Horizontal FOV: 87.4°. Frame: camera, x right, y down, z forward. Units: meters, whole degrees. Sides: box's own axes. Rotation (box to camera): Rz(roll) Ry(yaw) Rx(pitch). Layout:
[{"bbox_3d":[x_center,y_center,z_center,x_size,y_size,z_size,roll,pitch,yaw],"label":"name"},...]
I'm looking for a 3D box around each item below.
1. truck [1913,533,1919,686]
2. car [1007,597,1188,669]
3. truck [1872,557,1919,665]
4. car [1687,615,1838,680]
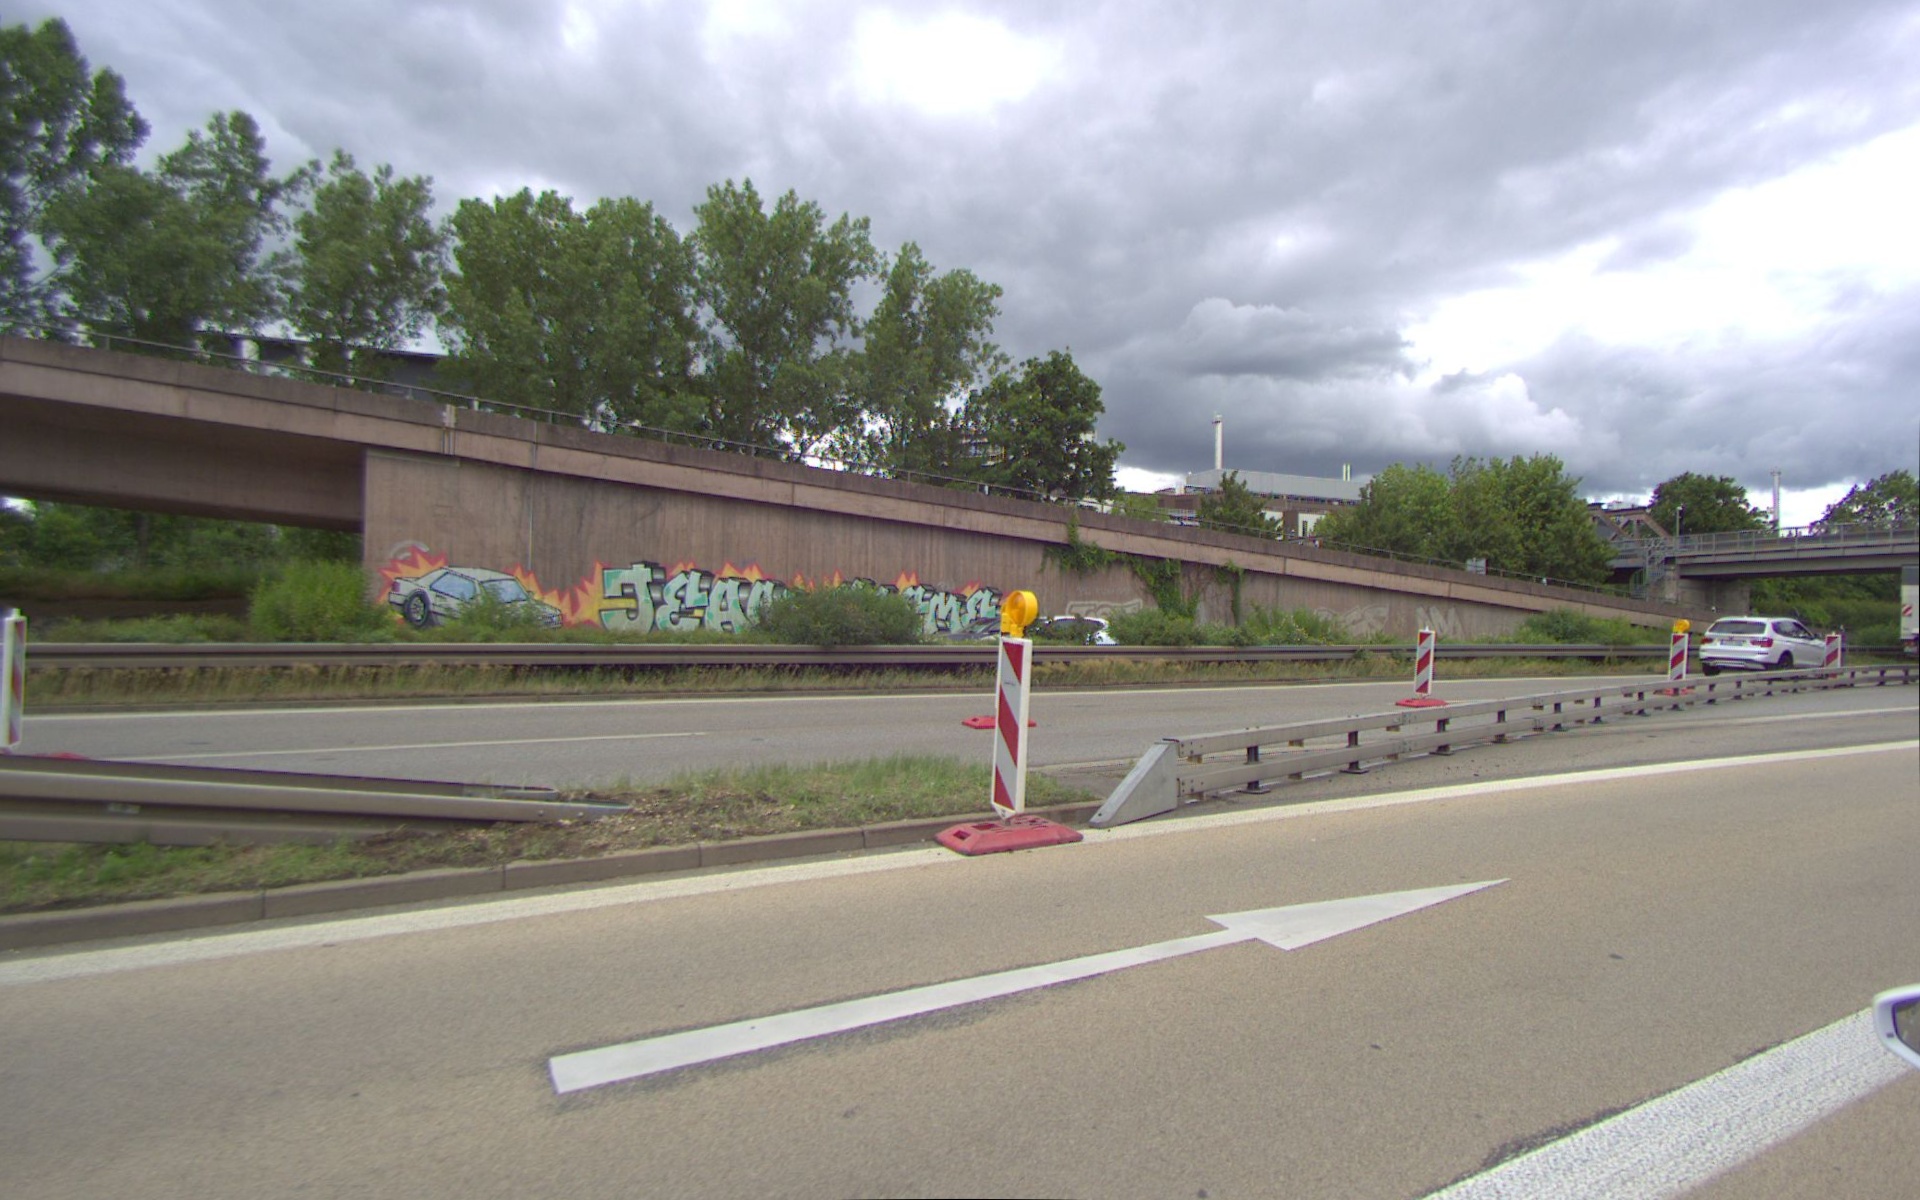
[{"bbox_3d":[28.022,0.382,25.926,10.051,3.677,2.934,2,-1,-34],"label":"truck"},{"bbox_3d":[3.445,0.804,25.022,4.240,1.662,1.846,1,0,-29],"label":"car"},{"bbox_3d":[35.312,0.490,35.185,7.653,3.603,2.979,2,-2,-31],"label":"truck"},{"bbox_3d":[22.360,1.304,27.970,4.240,1.662,1.846,2,-1,-29],"label":"car"}]
